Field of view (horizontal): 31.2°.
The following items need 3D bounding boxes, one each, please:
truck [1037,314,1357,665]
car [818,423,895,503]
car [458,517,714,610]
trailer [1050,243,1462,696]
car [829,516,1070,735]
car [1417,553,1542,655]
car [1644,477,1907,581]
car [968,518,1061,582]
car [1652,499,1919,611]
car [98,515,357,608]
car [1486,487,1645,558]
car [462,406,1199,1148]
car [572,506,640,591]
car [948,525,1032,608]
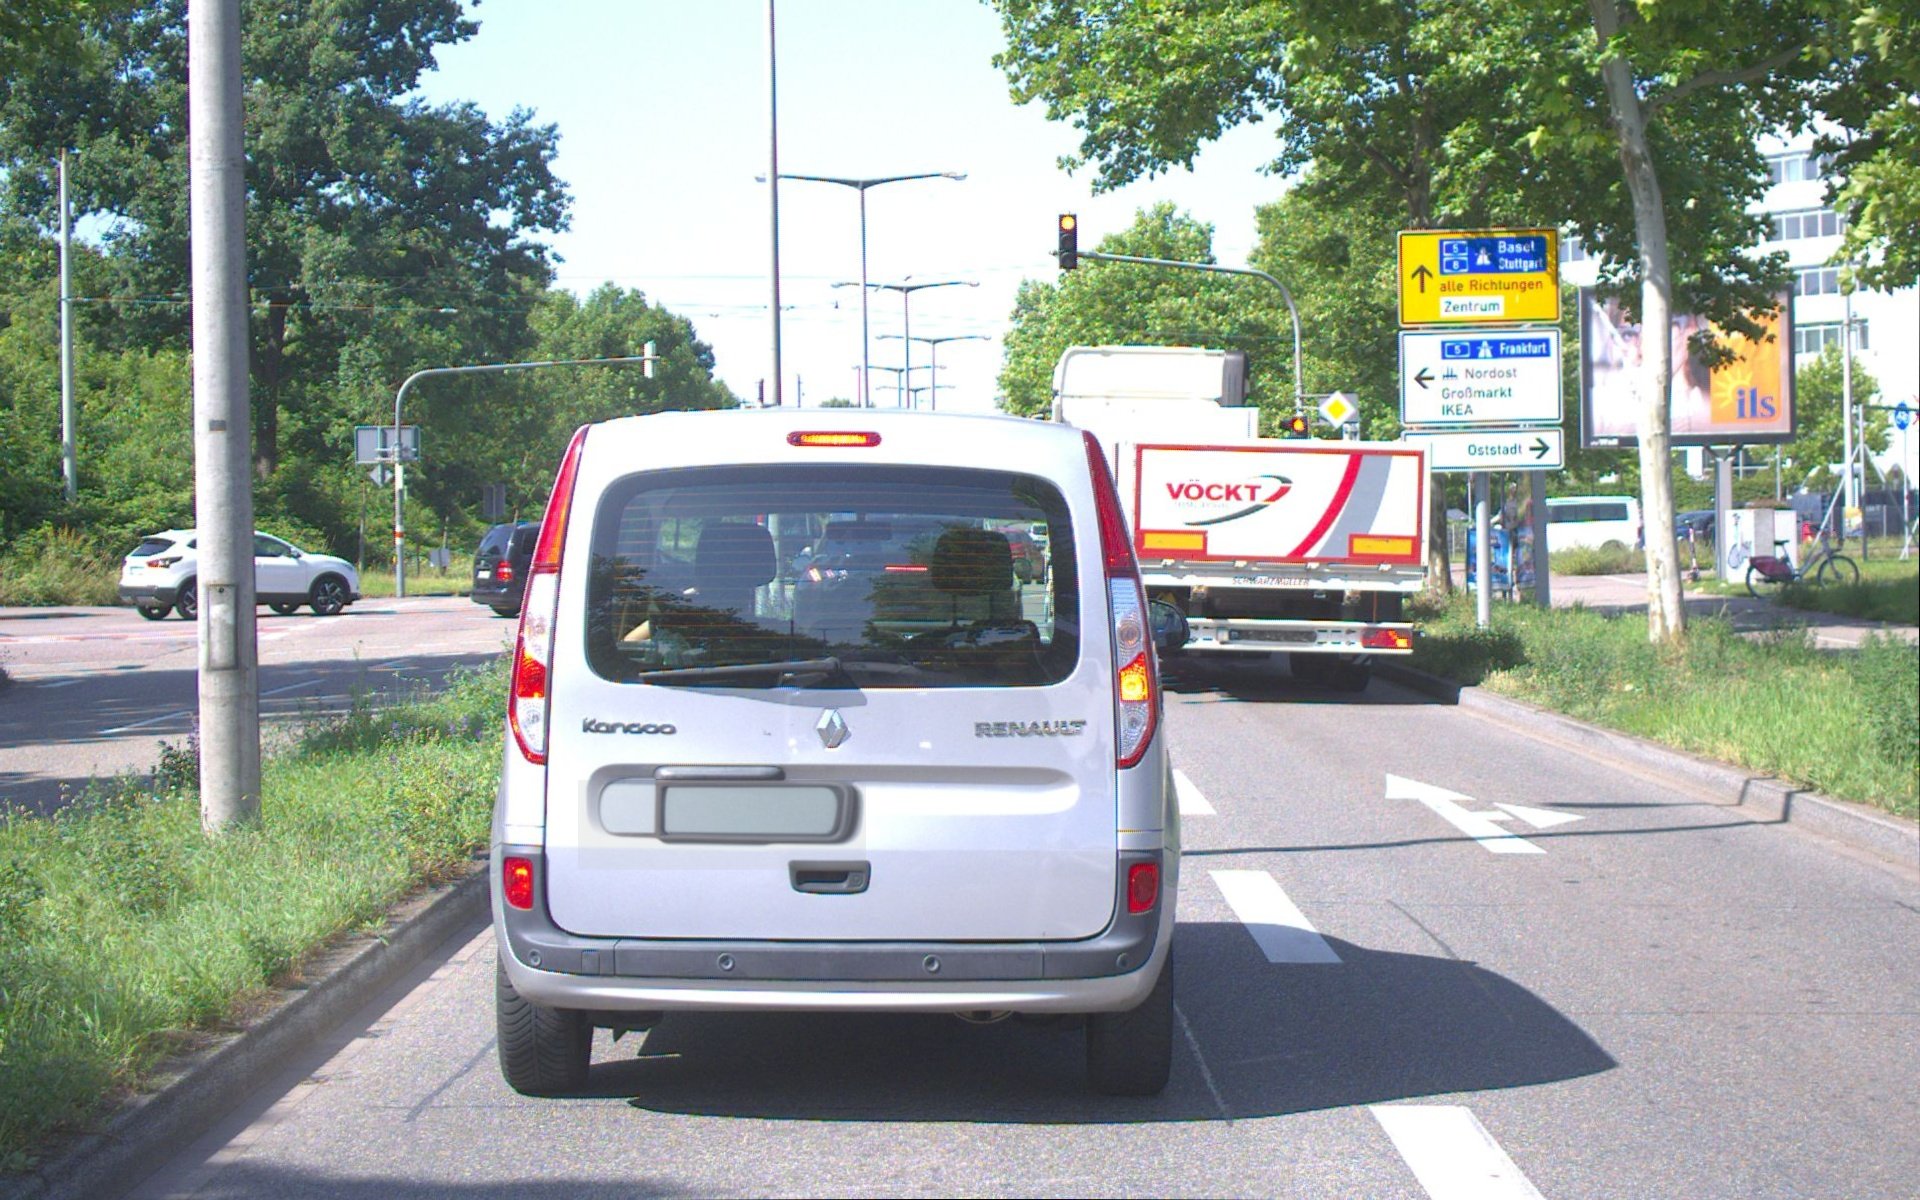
[{"bbox_3d":[2.631,-1.247,40.673,3.071,3.745,7.477,1,1,-1],"label":"truck"},{"bbox_3d":[-2.738,-3.569,90.263,1.713,2.007,4.001,0,1,-6],"label":"car"},{"bbox_3d":[-6.465,-0.627,59.370,3.986,1.568,1.939,0,1,-23],"label":"car"},{"bbox_3d":[2.615,-1.181,34.641,3.016,3.728,12.240,1,1,0],"label":"trailer"},{"bbox_3d":[-0.153,0.168,28.560,1.809,1.678,4.001,1,1,-3],"label":"car"},{"bbox_3d":[9.529,0.051,63.222,1.816,1.789,3.443,1,1,1],"label":"car"},{"bbox_3d":[13.391,-1.168,56.617,3.988,1.656,1.723,1,1,5],"label":"car"},{"bbox_3d":[1.426,-1.330,91.077,1.993,1.634,4.001,0,1,-6],"label":"car"},{"bbox_3d":[12.821,-0.702,53.112,3.988,1.656,1.723,1,1,5],"label":"car"},{"bbox_3d":[-13.227,-0.693,62.162,4.103,1.621,1.999,0,1,-39],"label":"car"},{"bbox_3d":[17.755,-2.275,100.989,4.525,2.007,1.999,1,1,9],"label":"car"},{"bbox_3d":[-0.340,0.394,10.215,1.749,1.766,3.950,1,1,-1],"label":"car"},{"bbox_3d":[-11.239,-1.640,108.879,2.058,2.605,5.871,0,1,-6],"label":"car"},{"bbox_3d":[0.723,-0.858,85.874,1.993,2.007,4.000,1,1,0],"label":"car"}]
